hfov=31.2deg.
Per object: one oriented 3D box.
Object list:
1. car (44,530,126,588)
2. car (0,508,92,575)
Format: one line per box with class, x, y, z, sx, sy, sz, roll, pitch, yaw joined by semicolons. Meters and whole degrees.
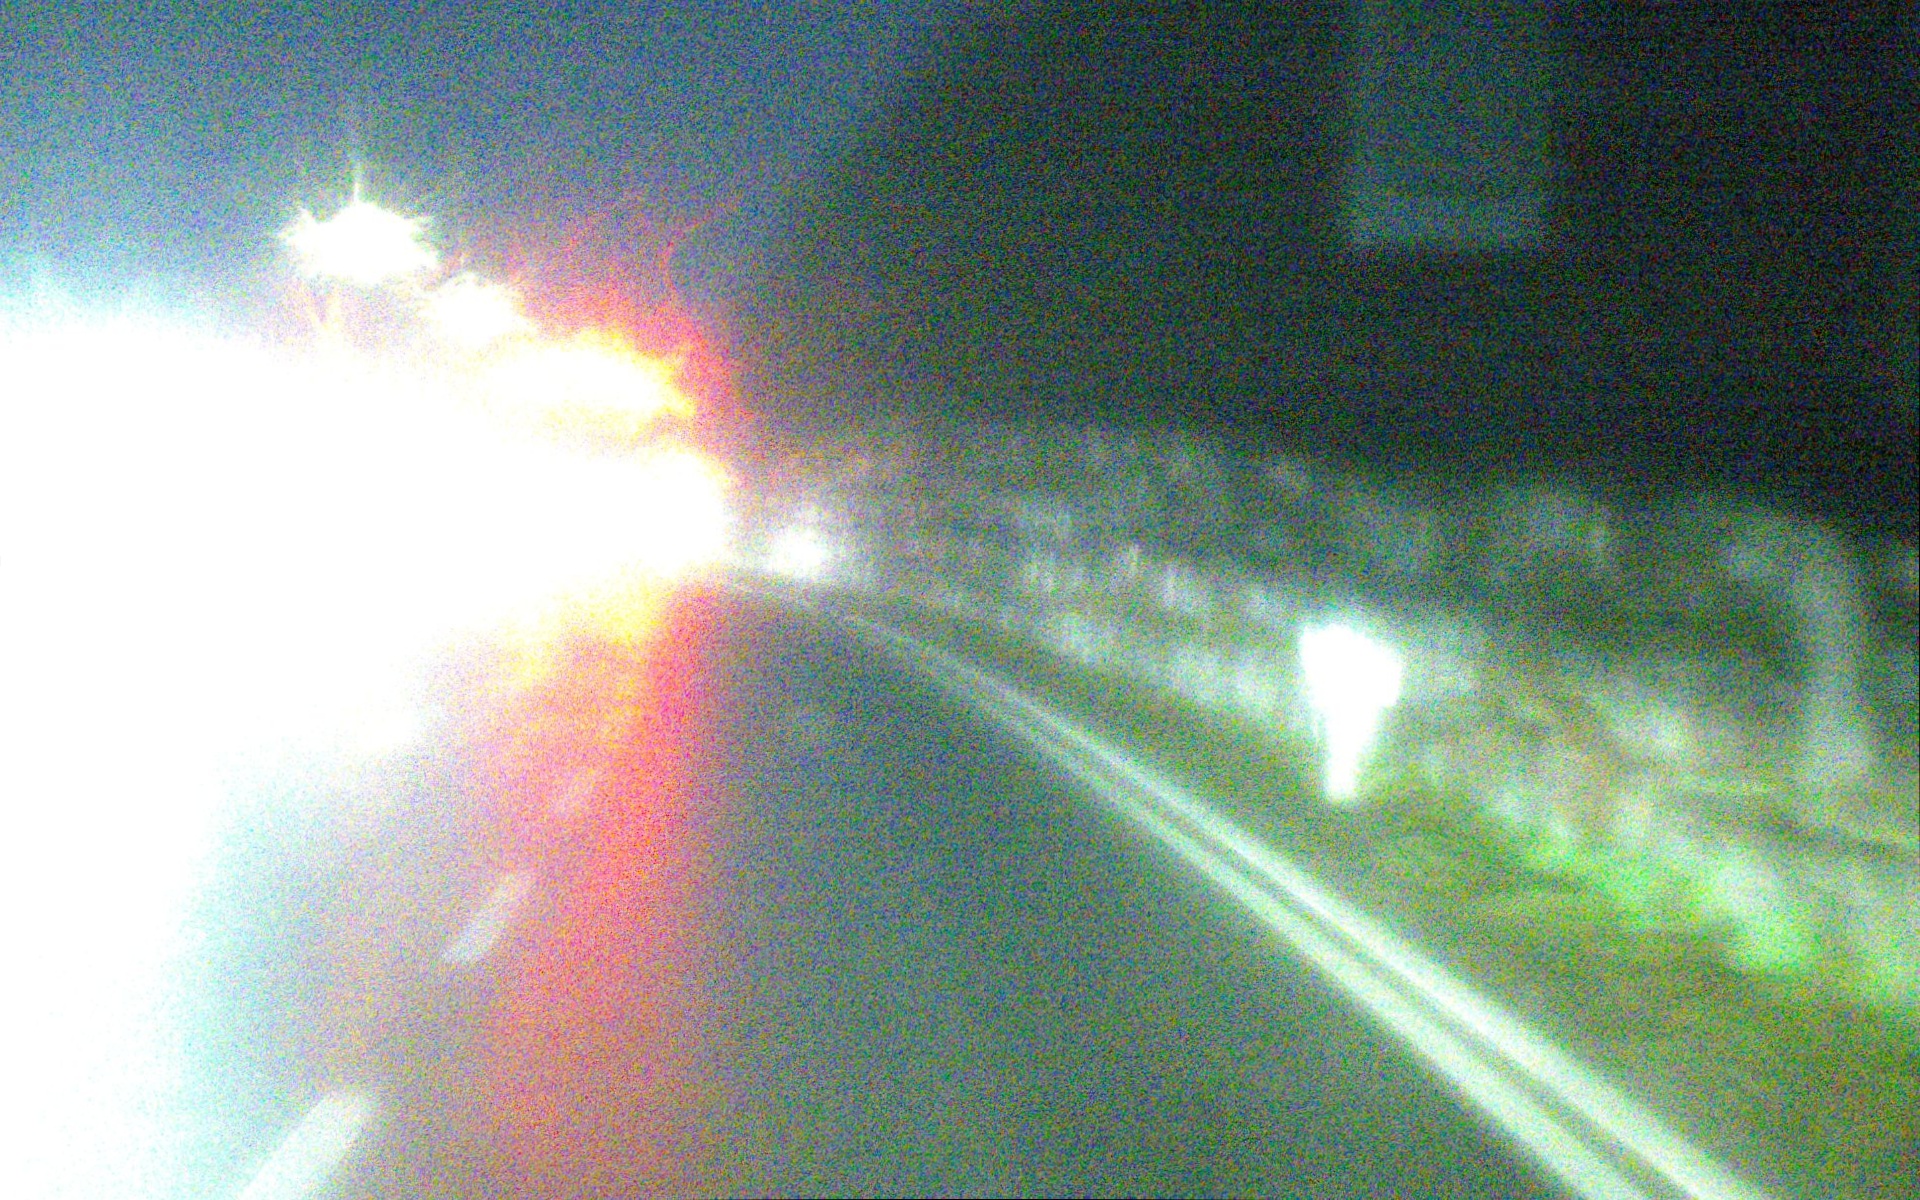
car;-23.554;-1.121;92.620;1.790;1.436;3.857;-3;2;-10
car;-20.800;-1.339;78.135;1.832;1.437;4.492;1;1;-11
